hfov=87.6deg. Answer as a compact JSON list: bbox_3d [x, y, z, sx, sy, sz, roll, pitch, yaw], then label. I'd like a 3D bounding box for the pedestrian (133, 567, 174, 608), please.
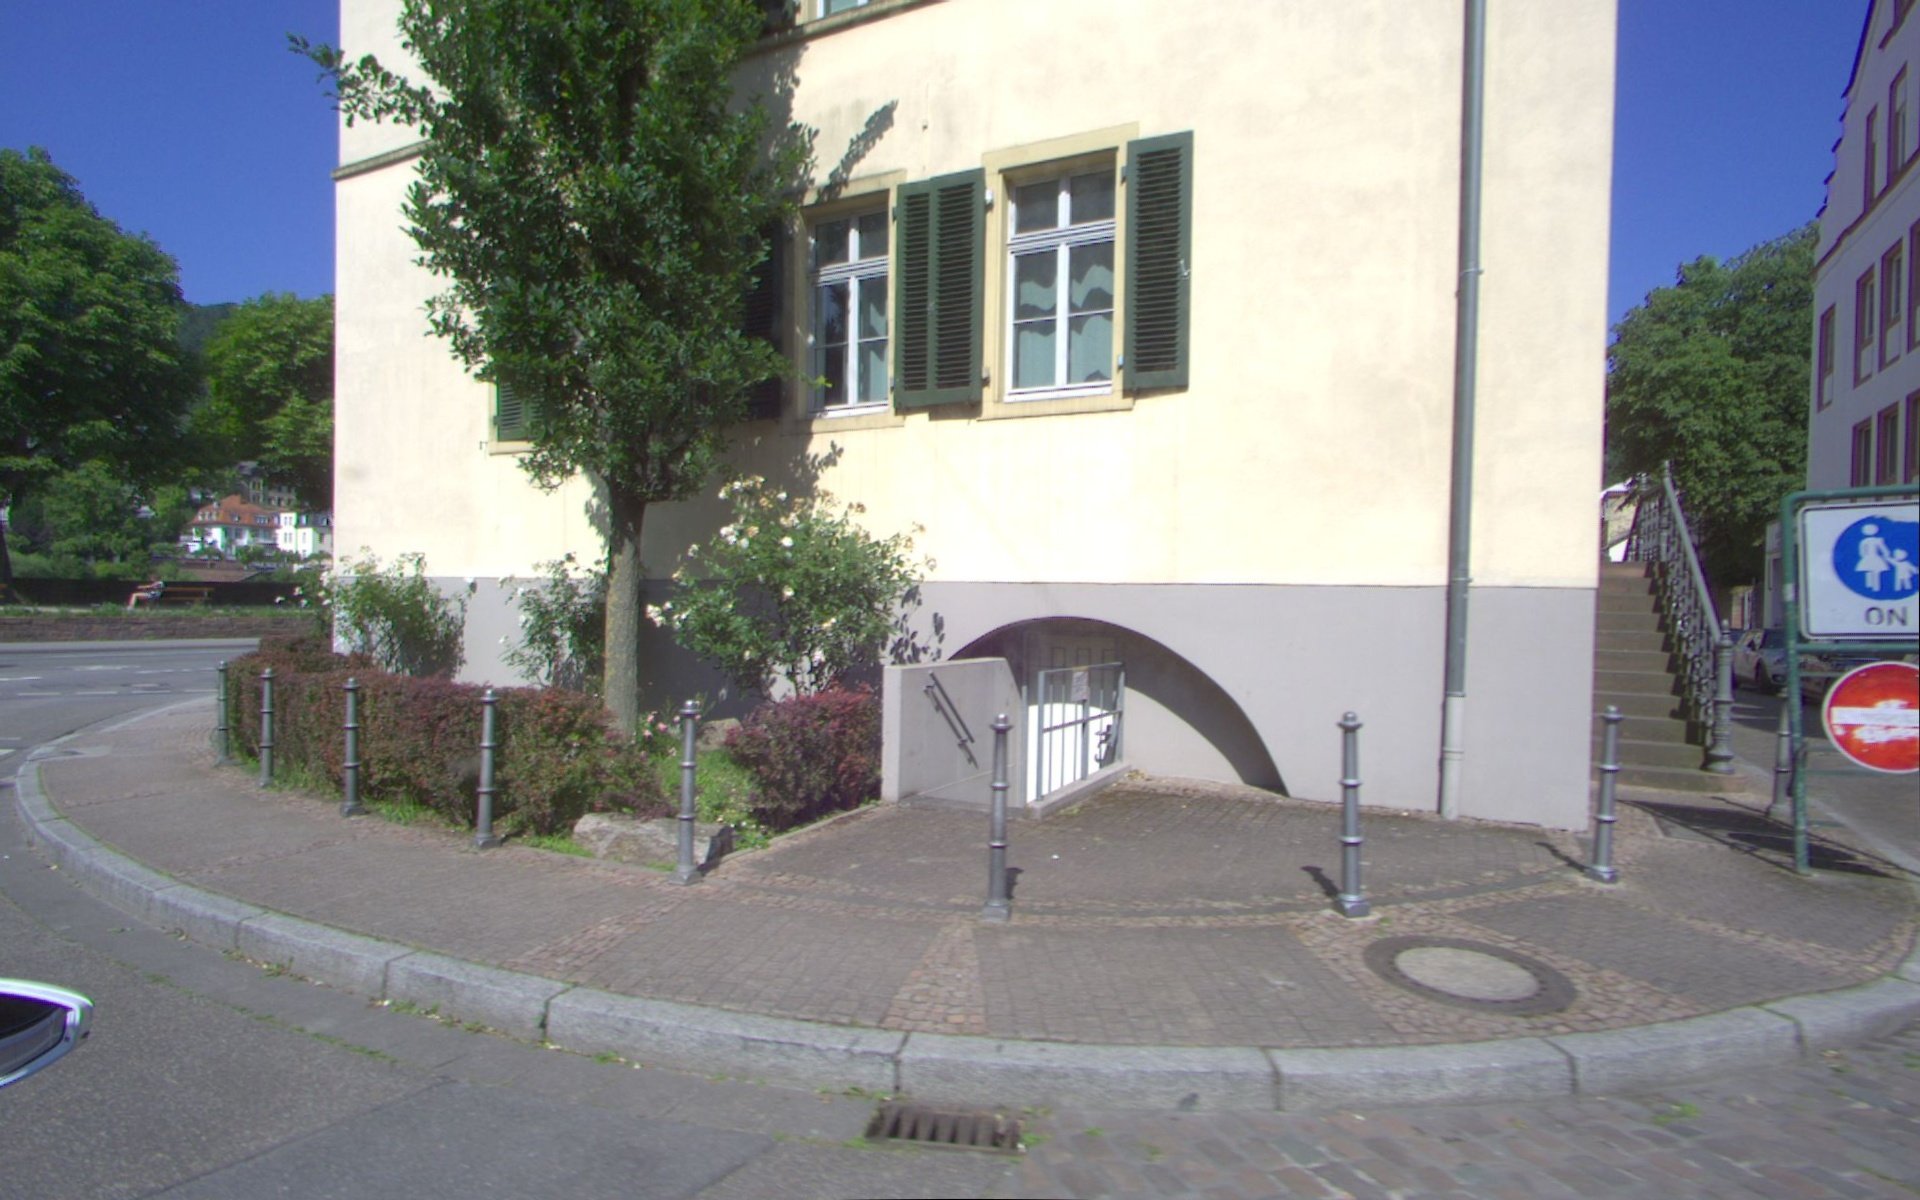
[{"bbox_3d":[-25.642,-0.374,31.844,0.705,1.225,0.797,-2,-3,29],"label":"pedestrian"}]

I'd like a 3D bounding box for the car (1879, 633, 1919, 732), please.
[{"bbox_3d":[14.166,1.160,13.595,1.685,1.376,3.321,0,-1,28],"label":"car"}]

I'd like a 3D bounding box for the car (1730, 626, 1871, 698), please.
[{"bbox_3d":[18.262,1.294,21.920,1.685,1.414,3.321,0,-1,28],"label":"car"}]

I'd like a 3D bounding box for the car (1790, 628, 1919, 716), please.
[{"bbox_3d":[16.427,1.237,17.979,1.685,1.414,3.321,0,-1,28],"label":"car"}]
